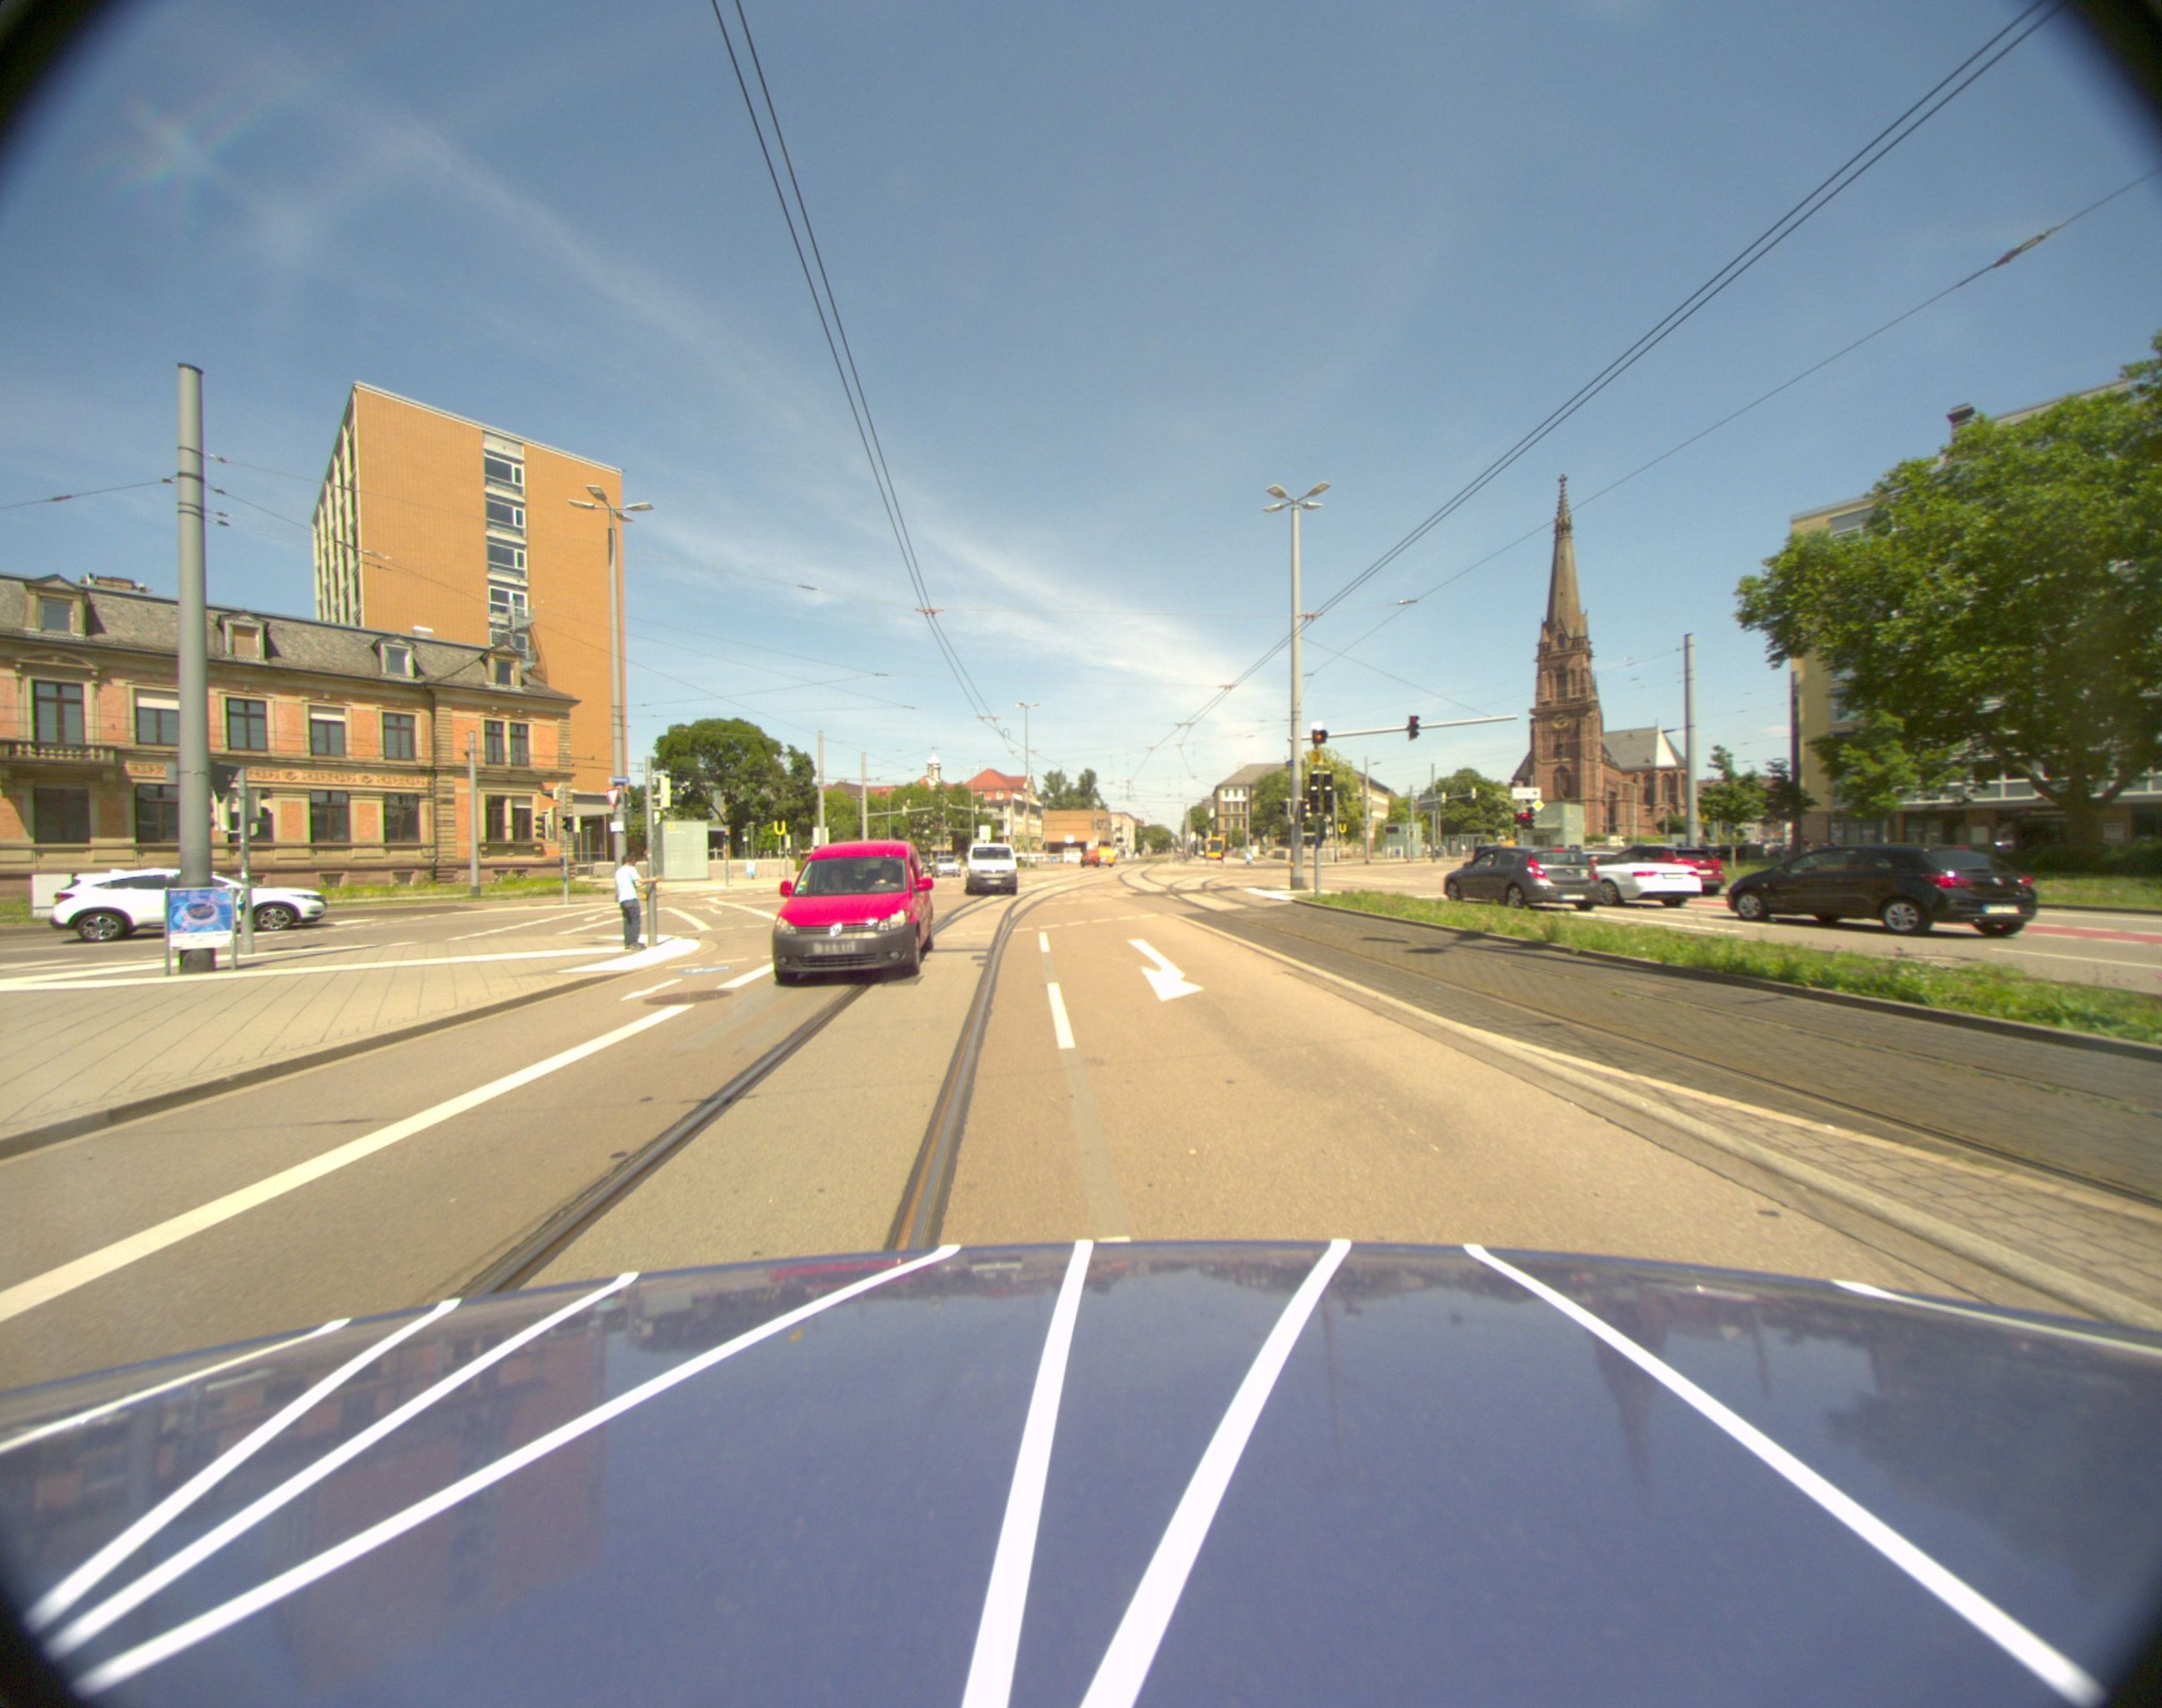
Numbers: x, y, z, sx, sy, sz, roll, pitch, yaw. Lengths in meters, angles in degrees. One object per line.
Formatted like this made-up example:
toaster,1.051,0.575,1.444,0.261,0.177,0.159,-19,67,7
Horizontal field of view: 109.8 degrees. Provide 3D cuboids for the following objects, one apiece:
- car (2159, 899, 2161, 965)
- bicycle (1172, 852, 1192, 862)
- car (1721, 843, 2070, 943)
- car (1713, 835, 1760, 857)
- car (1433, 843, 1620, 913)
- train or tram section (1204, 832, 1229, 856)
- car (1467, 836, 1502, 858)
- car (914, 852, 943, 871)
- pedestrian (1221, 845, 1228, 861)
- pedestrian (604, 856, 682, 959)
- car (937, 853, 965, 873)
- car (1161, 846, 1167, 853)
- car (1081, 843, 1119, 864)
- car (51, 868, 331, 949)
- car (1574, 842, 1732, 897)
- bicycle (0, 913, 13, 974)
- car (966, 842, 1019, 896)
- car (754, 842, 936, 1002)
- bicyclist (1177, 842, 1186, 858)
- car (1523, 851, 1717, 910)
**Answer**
car,14.120,0.618,6.622,1.999,1.521,5.128,1,1,-3
bicycle,10.350,0.277,77.876,1.906,0.973,0.528,-1,1,-8
car,13.540,0.551,13.037,1.675,1.453,3.902,0,1,-4
car,37.706,-0.450,43.703,1.987,1.148,0.503,-3,1,14
car,10.504,0.512,18.347,1.848,1.471,4.329,0,0,-2
train or tram section,19.204,-1.434,108.087,2.840,3.195,9.112,-1,1,6
car,31.784,-0.564,59.831,3.393,1.565,1.331,-3,1,-42
car,-14.871,0.714,73.881,2.002,1.714,3.992,-1,1,-22
pedestrian,15.159,-0.067,80.278,0.657,1.661,0.449,-1,1,-19
pedestrian,-7.924,0.930,13.768,0.808,1.769,0.876,-1,1,29
car,-9.084,0.605,53.025,1.573,1.346,3.454,-1,1,-16
car,19.779,-1.144,181.180,1.439,1.587,4.001,-1,1,6
car,1.882,-0.087,76.611,2.002,2.002,4.586,-2,1,-24
car,-21.186,1.219,18.411,4.184,1.596,1.703,-2,1,-42
car,18.213,0.447,24.471,1.538,1.588,4.398,0,0,-4
bicycle,-19.122,1.546,12.277,2.023,1.000,0.724,-2,1,-38
car,-3.403,0.525,29.863,1.875,1.954,3.821,-1,1,-4
car,-3.113,0.766,10.870,1.756,1.802,4.094,-1,1,-7
bicyclist,10.333,-0.404,77.936,0.813,1.678,0.528,-1,1,-8
car,13.438,0.600,19.315,1.711,1.292,4.201,0,1,-4
